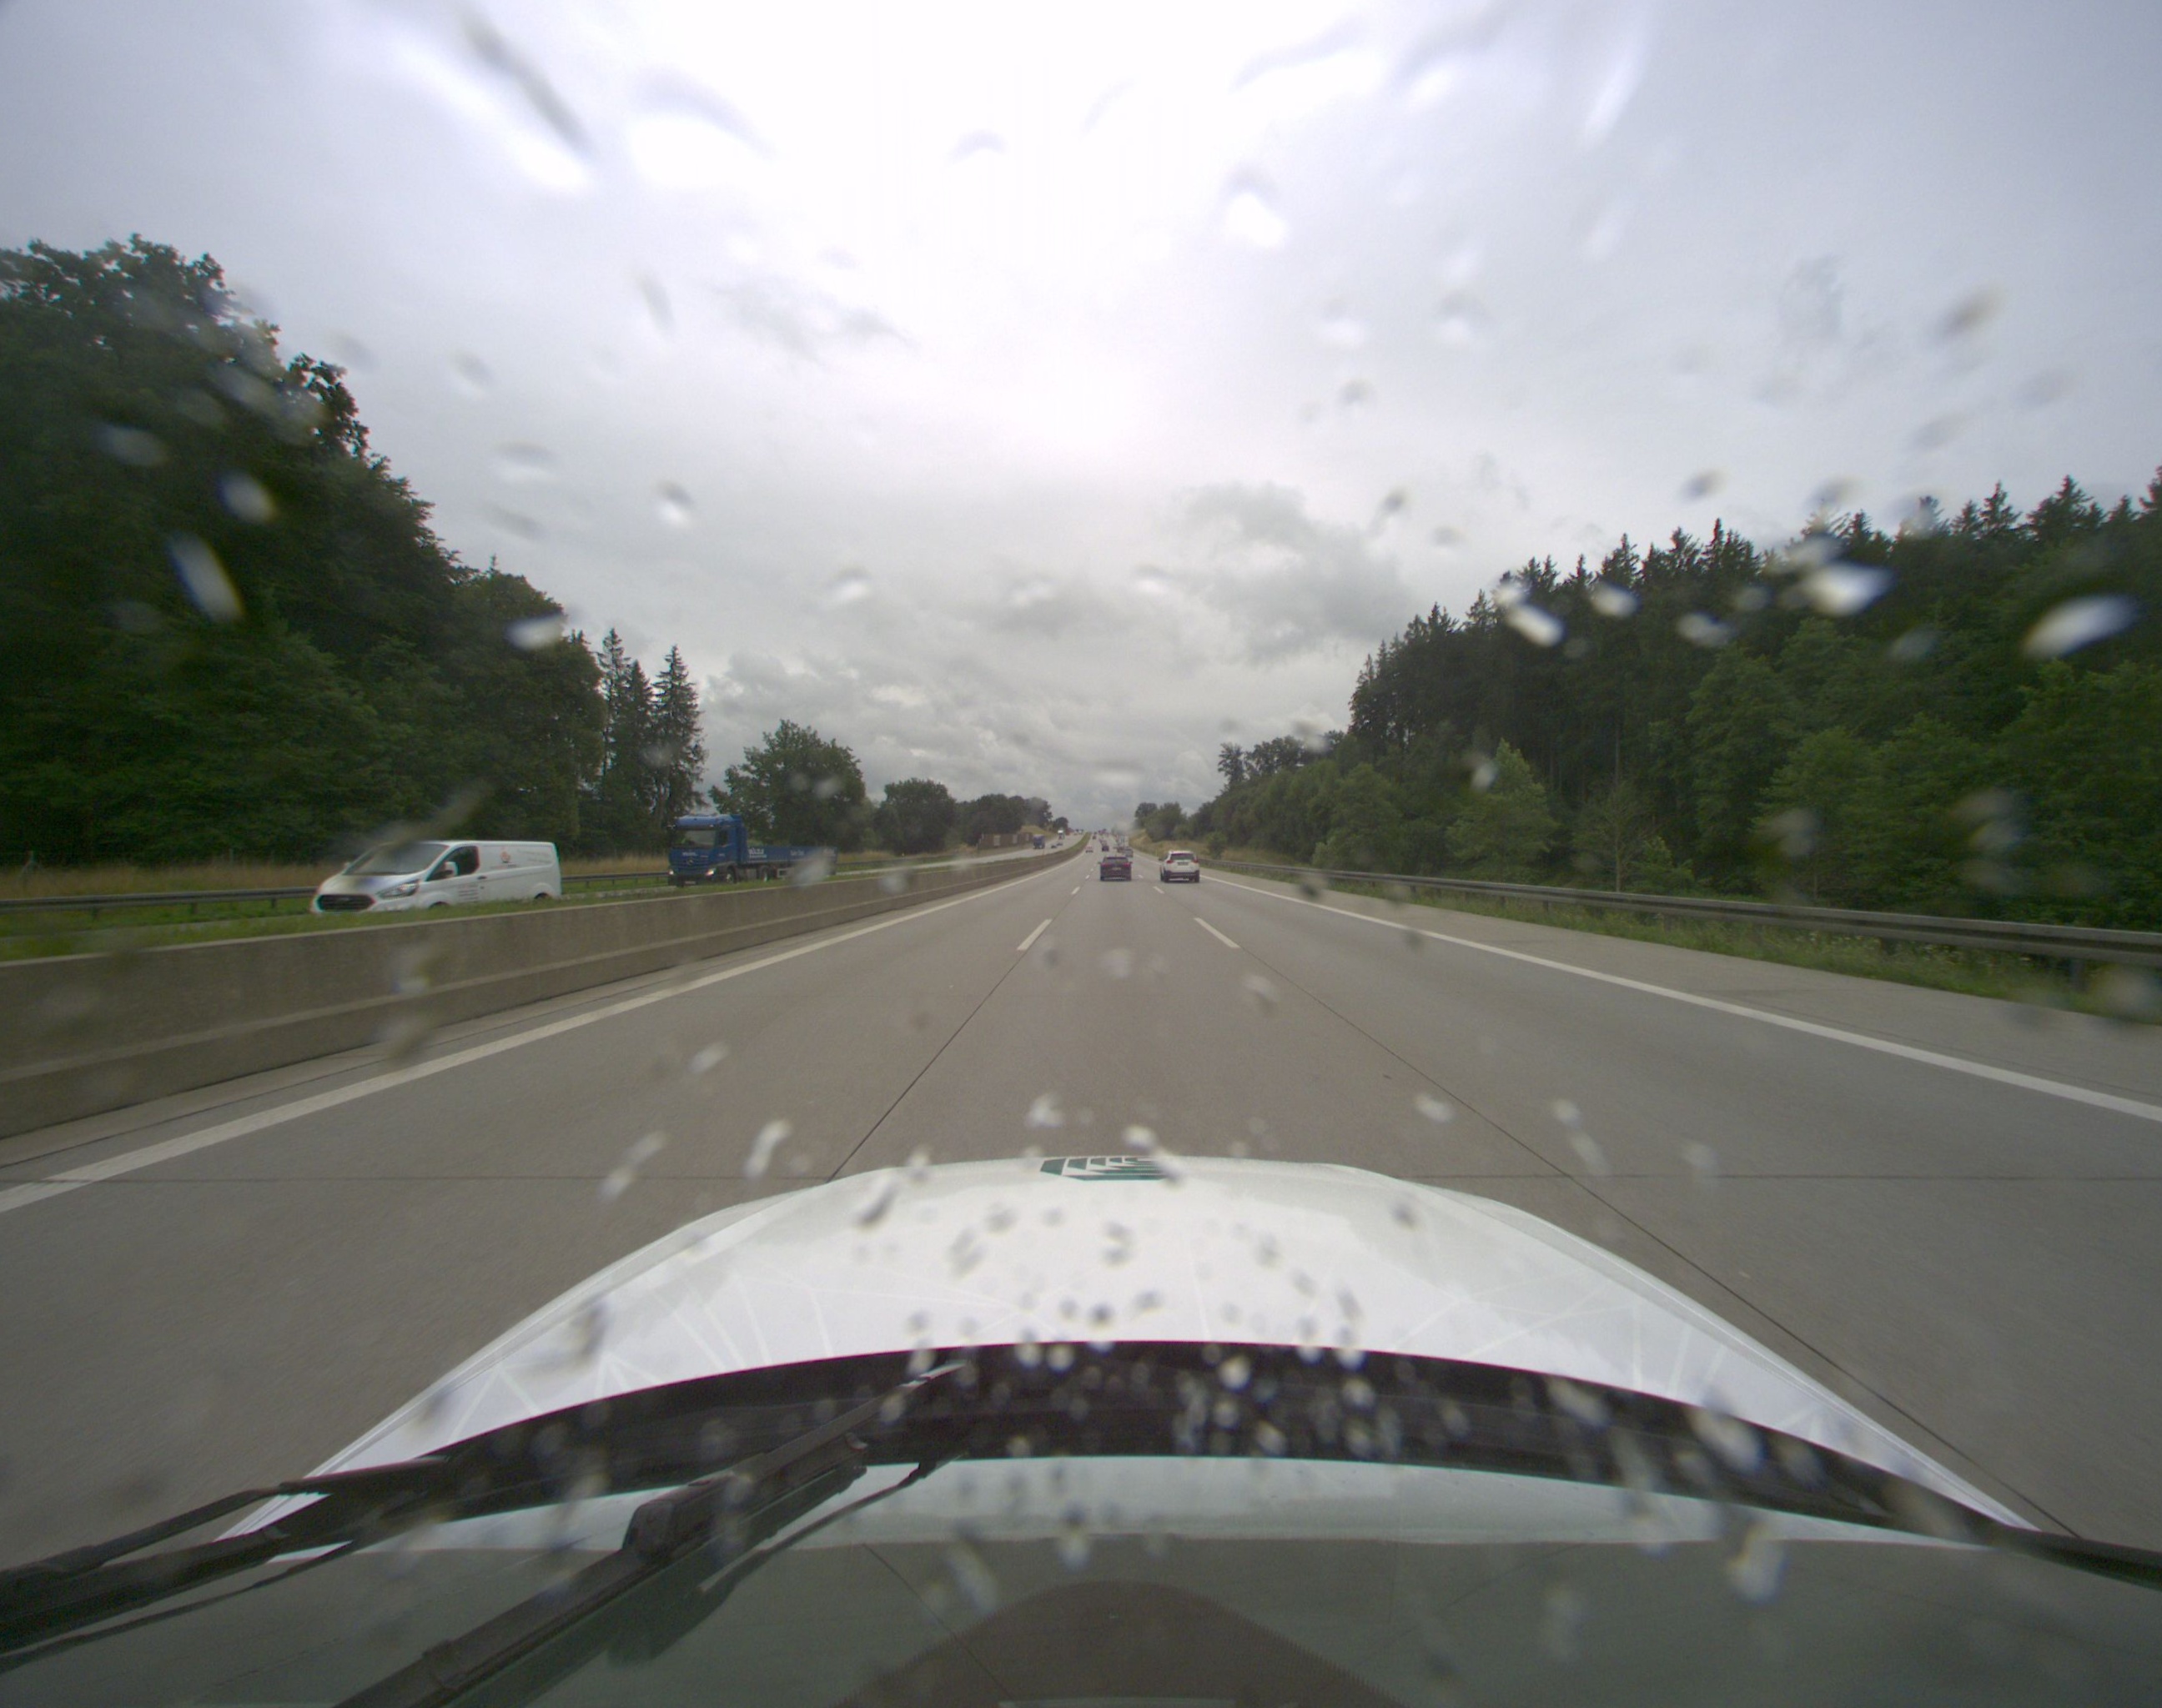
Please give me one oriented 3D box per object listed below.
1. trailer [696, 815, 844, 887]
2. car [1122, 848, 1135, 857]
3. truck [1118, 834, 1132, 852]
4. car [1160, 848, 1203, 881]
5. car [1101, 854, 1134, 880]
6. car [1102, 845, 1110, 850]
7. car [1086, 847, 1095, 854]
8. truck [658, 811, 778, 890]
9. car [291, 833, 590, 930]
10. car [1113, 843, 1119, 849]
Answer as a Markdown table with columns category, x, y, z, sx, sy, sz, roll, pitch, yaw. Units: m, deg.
| category | x | y | z | sx | sy | sz | roll | pitch | yaw |
| --- | --- | --- | --- | --- | --- | --- | --- | --- | --- |
| trailer | -17.343 | -0.115 | 47.078 | 2.775 | 3.508 | 13.890 | 0 | 0 | 2 |
| car | 8.105 | -0.299 | 139.309 | 1.986 | 1.530 | 4.001 | 0 | 0 | 1 |
| truck | 10.255 | -2.643 | 191.433 | 3.006 | 4.180 | 8.357 | 0 | 1 | 1 |
| car | 5.288 | 0.540 | 43.108 | 1.820 | 1.655 | 3.985 | 0 | 0 | 0 |
| car | 2.032 | 0.765 | 46.385 | 1.746 | 1.398 | 4.483 | 0 | -1 | 0 |
| car | 6.353 | -1.669 | 206.422 | 1.927 | 1.375 | 4.597 | 0 | 0 | 2 |
| car | 2.352 | -0.844 | 196.896 | 1.940 | 1.356 | 4.261 | -1 | -2 | 2 |
| truck | -17.564 | -0.142 | 39.956 | 2.746 | 3.517 | 6.643 | 0 | 0 | 2 |
| car | -13.528 | 0.526 | 17.842 | 2.080 | 1.801 | 5.499 | 0 | 0 | 2 |
| car | 10.482 | -2.476 | 243.414 | 1.985 | 1.640 | 4.004 | 0 | 1 | 3 |
